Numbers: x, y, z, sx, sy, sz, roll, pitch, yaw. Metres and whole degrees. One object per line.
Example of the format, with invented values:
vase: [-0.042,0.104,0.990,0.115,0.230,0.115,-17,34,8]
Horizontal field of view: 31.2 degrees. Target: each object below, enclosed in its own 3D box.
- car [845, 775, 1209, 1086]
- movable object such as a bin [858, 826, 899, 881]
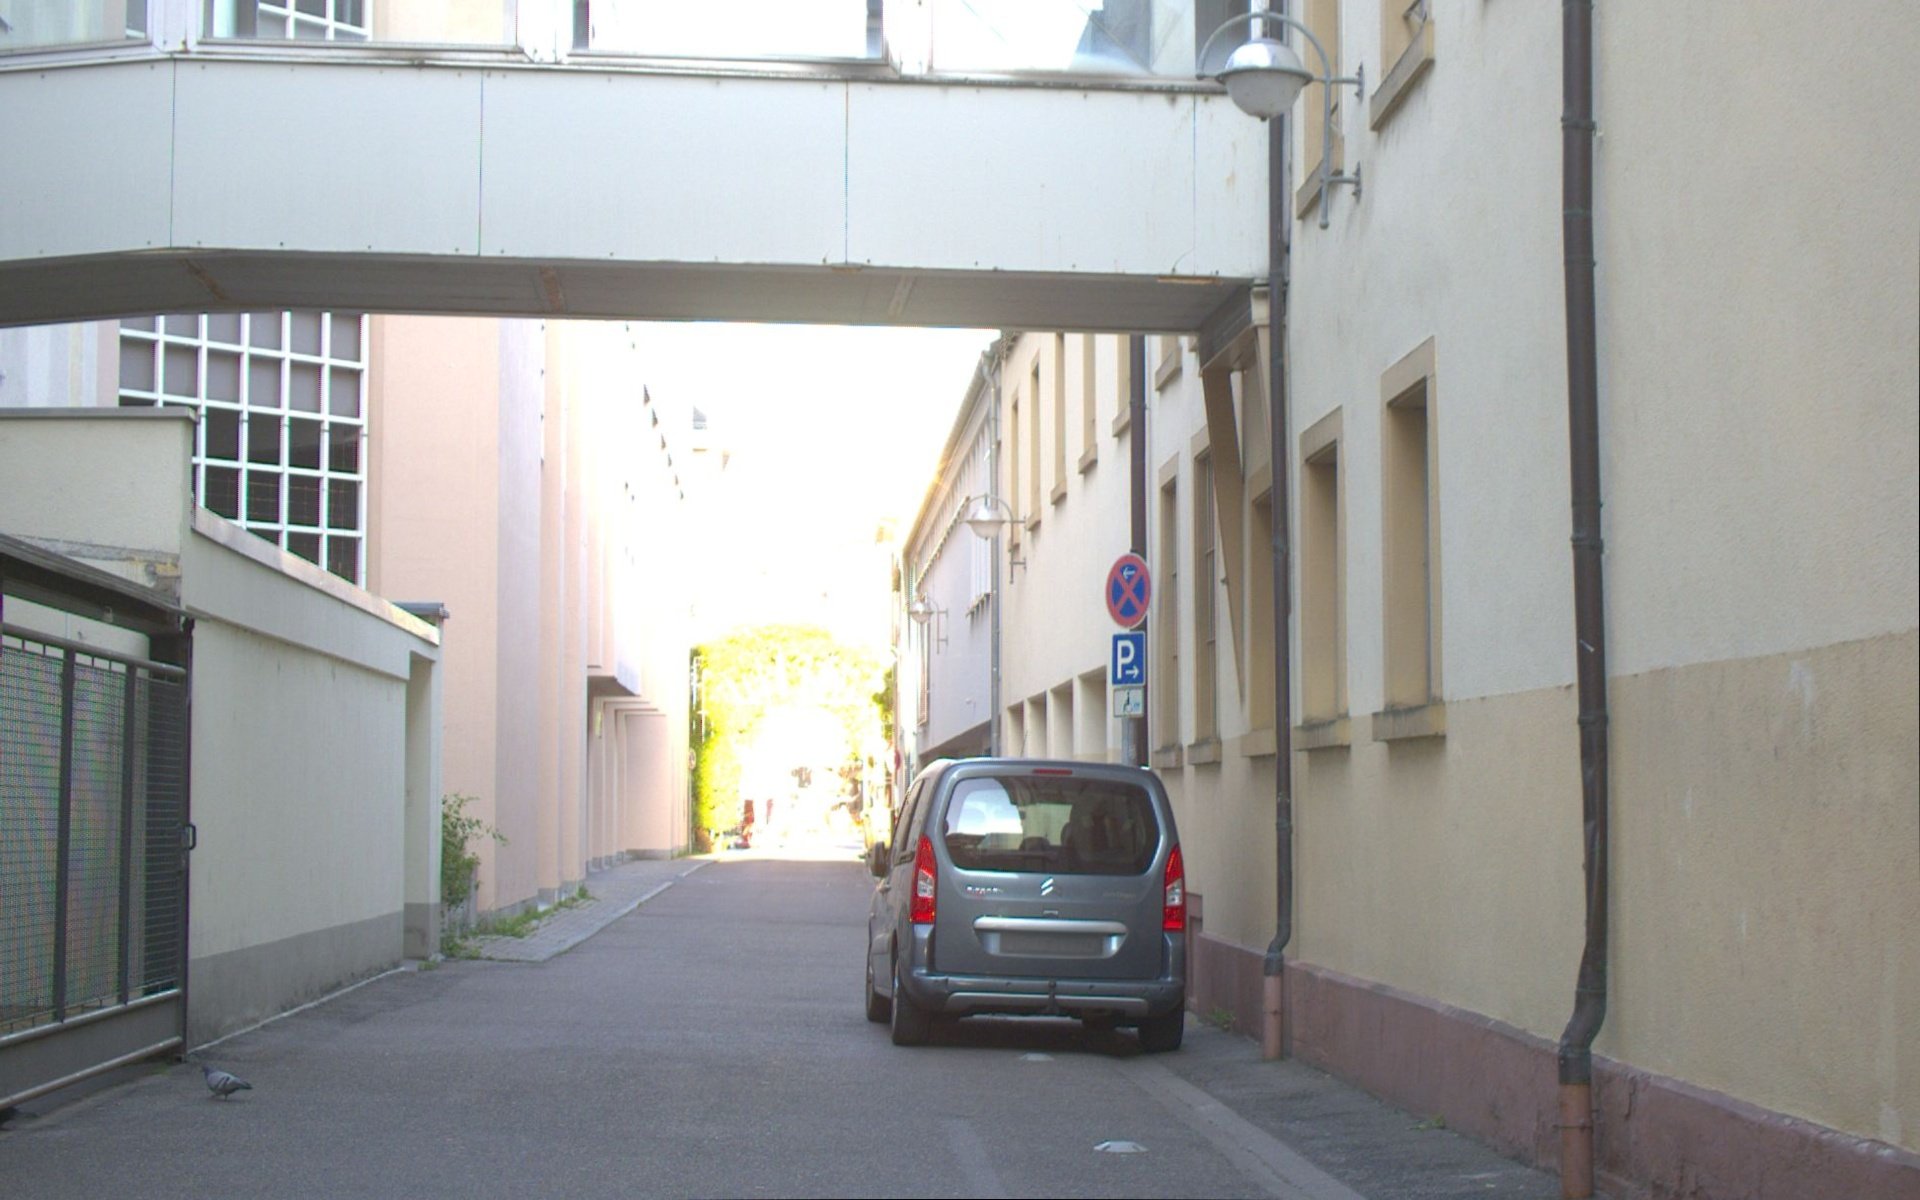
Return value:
car: [0.338,2.112,22.502,1.855,1.750,4.162,3,-4,-5]
movable object such as a bin: [-2.237,6.965,94.479,1.107,1.431,1.414,0,-1,-2]
